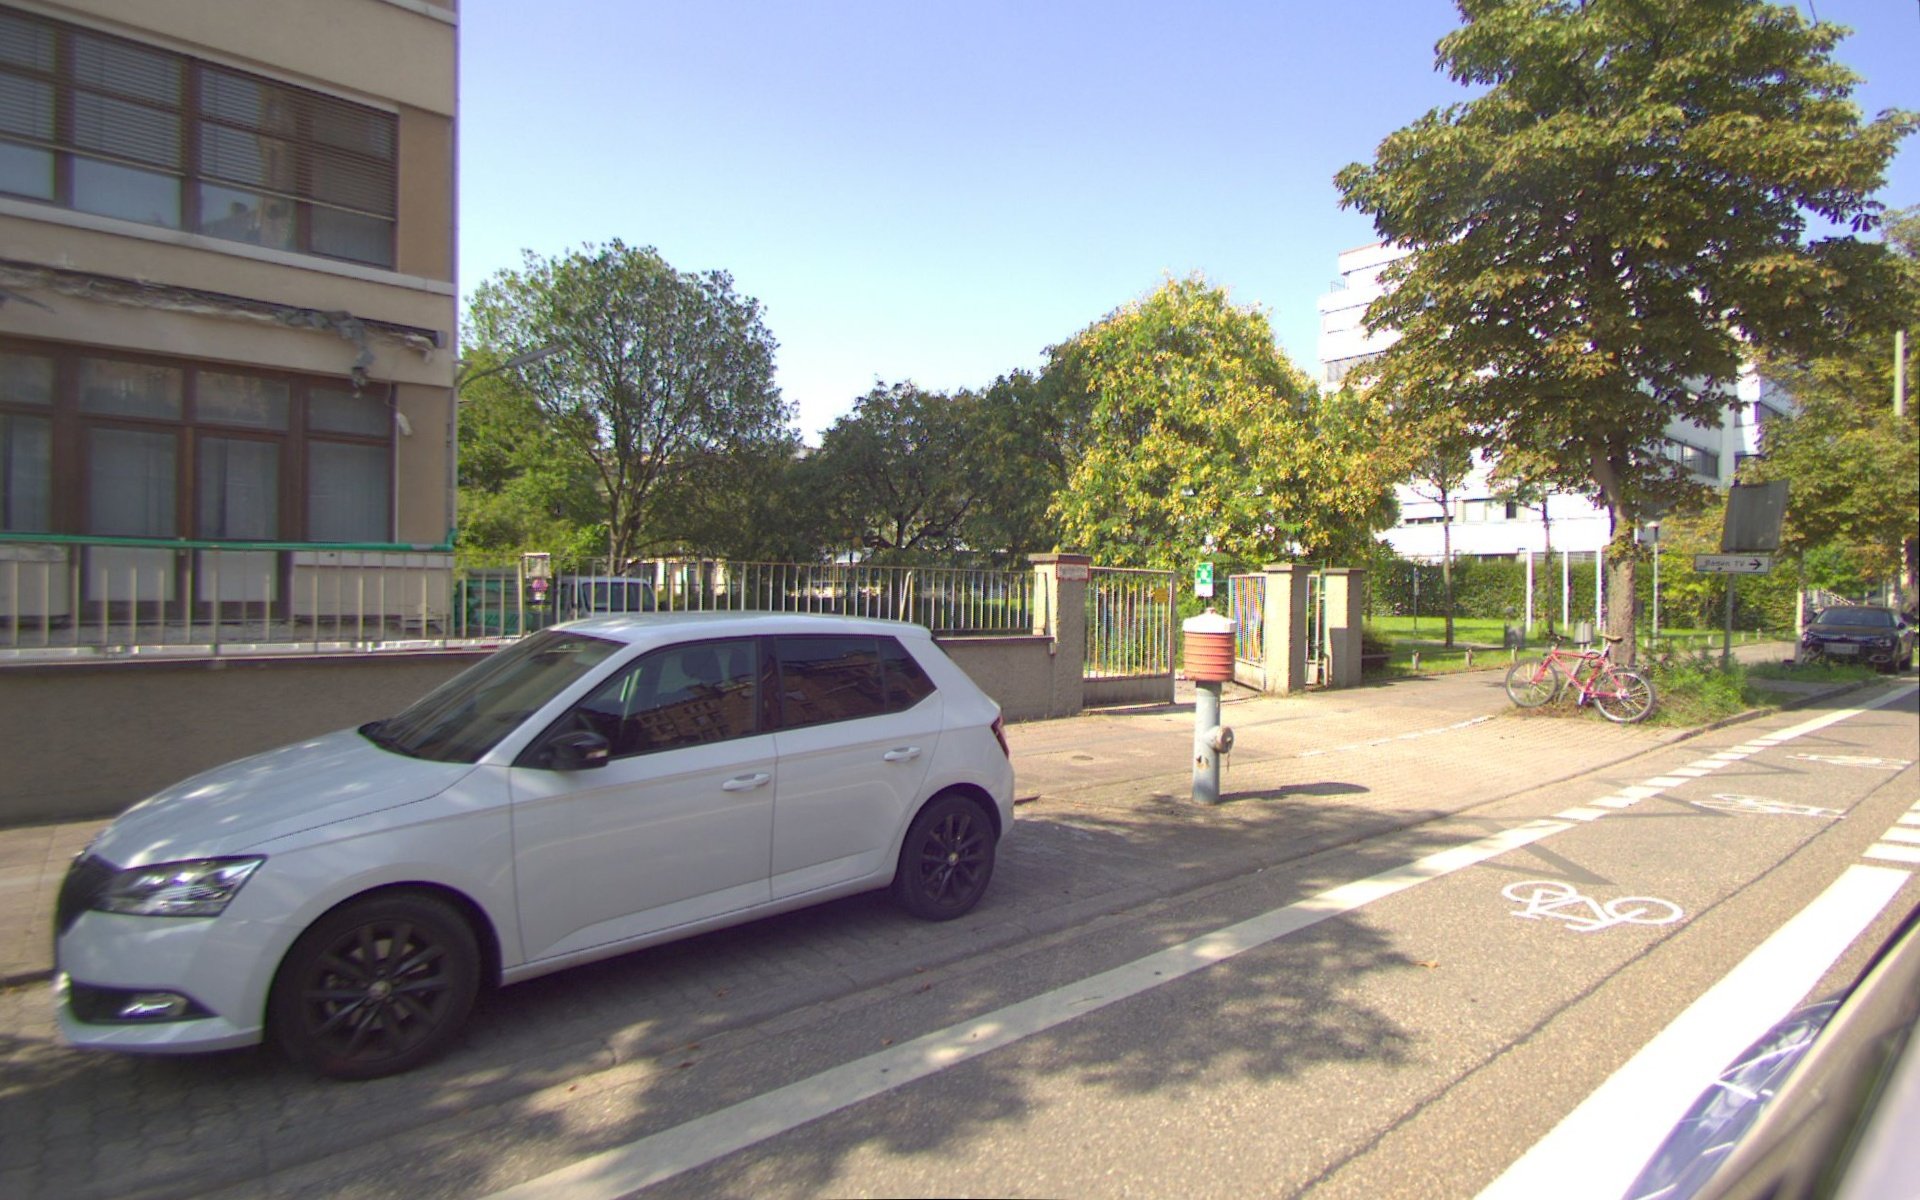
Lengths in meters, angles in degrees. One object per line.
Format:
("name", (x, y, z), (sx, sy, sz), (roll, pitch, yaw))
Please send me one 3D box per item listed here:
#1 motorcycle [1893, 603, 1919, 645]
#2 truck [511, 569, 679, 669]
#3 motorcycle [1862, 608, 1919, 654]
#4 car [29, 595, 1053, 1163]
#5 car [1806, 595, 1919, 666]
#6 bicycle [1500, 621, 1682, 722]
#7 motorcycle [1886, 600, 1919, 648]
("motorcycle", (29.923, 0.756, 30.931), (0.828, 1.258, 2.068), (1, 1, -1))
("truck", (-9.545, 0.410, 26.052), (2.082, 2.243, 6.581), (0, 0, -39))
("motorcycle", (26.937, 0.871, 28.692), (0.632, 1.240, 1.993), (0, 0, -15))
("car", (-1.518, 0.723, 4.580), (3.920, 1.448, 1.643), (0, 1, -42))
("car", (21.685, 0.676, 24.051), (4.360, 1.504, 1.744), (1, 1, -41))
("bicycle", (7.870, 0.848, 12.689), (0.782, 1.077, 1.772), (0, 2, -41))
("motorcycle", (28.686, 0.713, 30.174), (0.835, 1.343, 2.053), (1, 1, 21))
